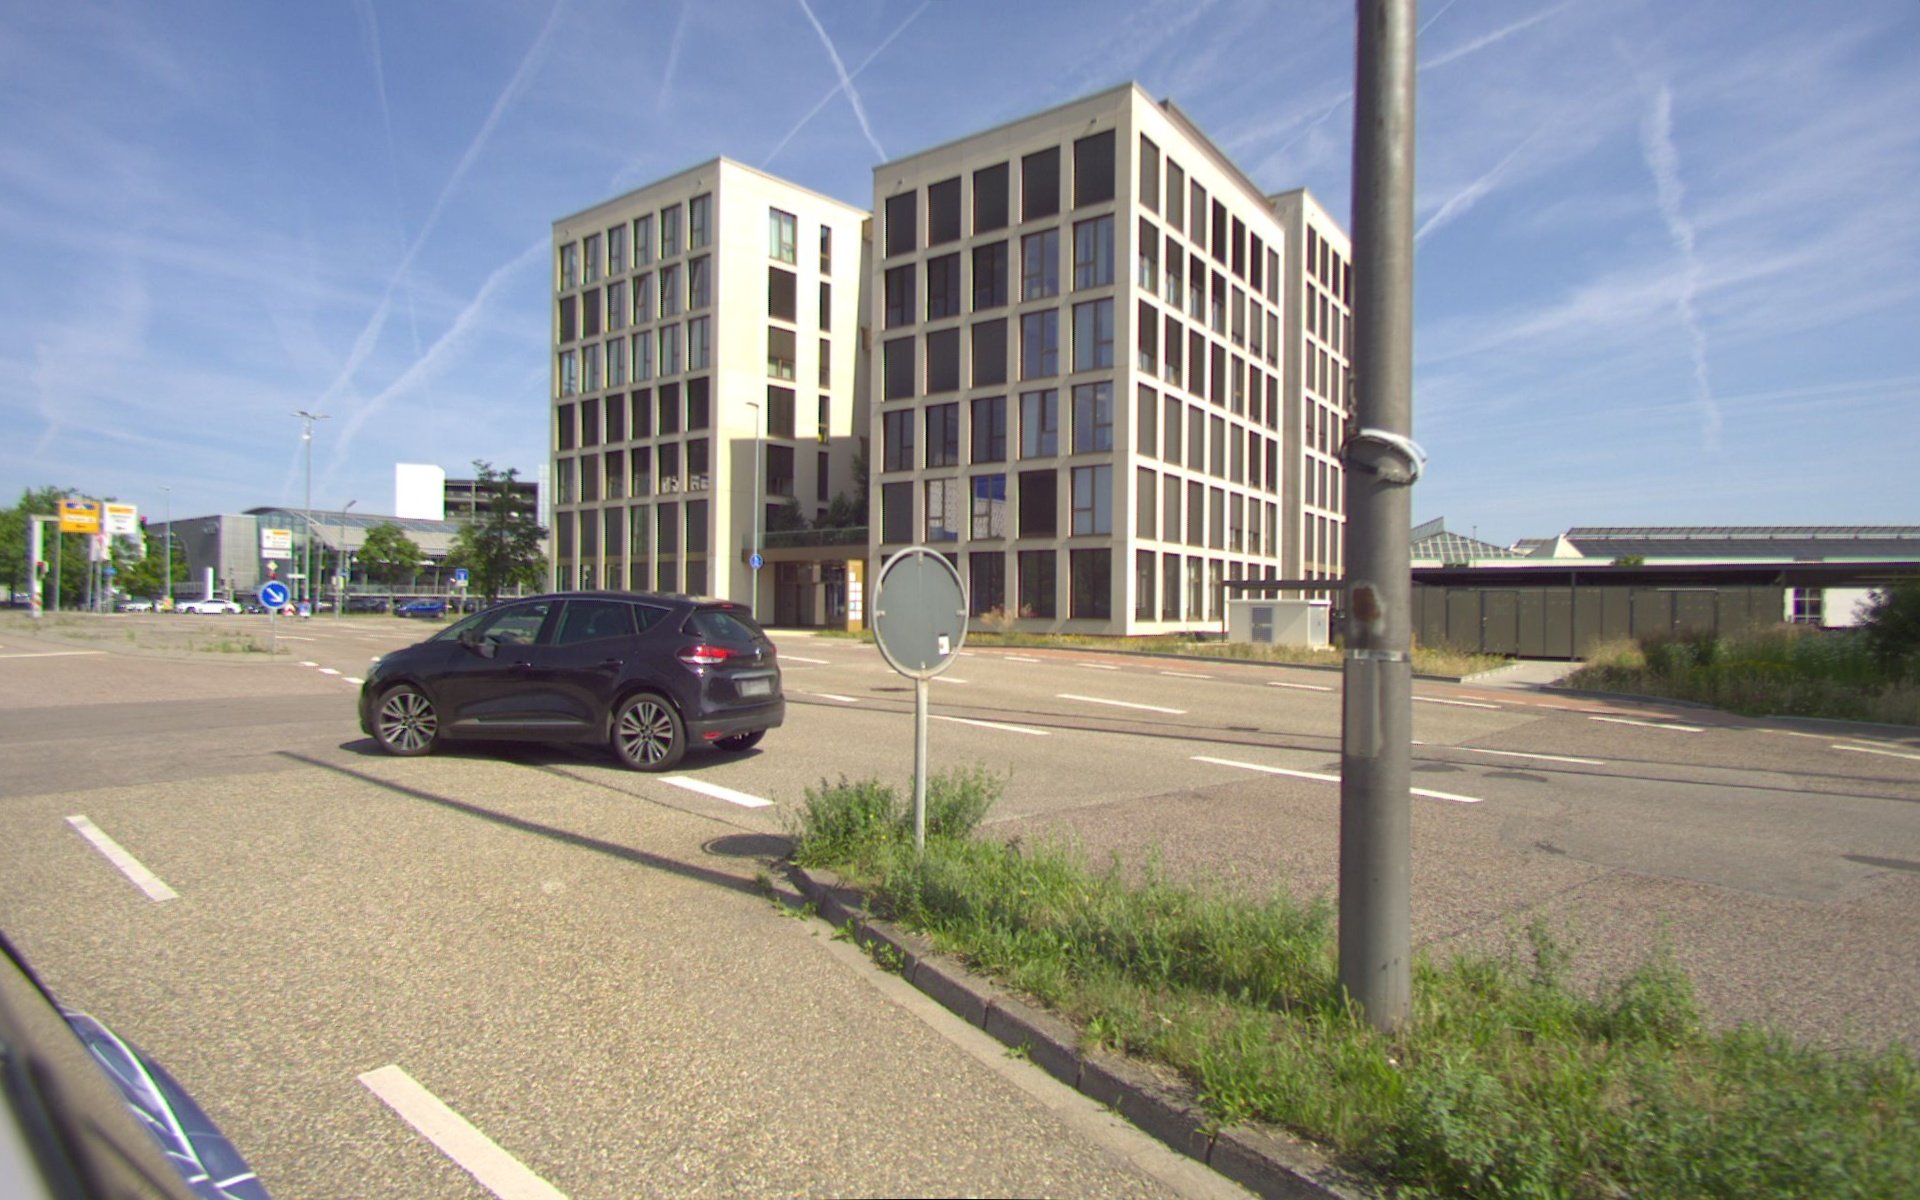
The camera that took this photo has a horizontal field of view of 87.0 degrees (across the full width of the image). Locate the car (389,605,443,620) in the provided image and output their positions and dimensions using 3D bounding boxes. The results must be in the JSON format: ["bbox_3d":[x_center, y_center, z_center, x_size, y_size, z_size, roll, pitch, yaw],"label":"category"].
[{"bbox_3d":[-46.198,1.067,85.976,1.661,1.299,3.748,0,-1,45],"label":"car"}]

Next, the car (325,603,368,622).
[{"bbox_3d":[-55.751,1.124,91.895,4.366,1.556,1.772,-3,-3,36],"label":"car"}]

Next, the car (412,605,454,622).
[{"bbox_3d":[-51.228,1.363,98.382,4.622,1.453,1.772,-3,-3,36],"label":"car"}]

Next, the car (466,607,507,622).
[{"bbox_3d":[-48.087,1.493,102.768,4.549,1.453,1.772,-2,-3,36],"label":"car"}]

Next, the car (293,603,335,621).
[{"bbox_3d":[-57.078,1.100,89.407,4.191,1.453,1.772,-3,-3,36],"label":"car"}]

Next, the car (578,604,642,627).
[{"bbox_3d":[-28.757,1.258,83.286,4.738,1.835,1.901,0,-1,-7],"label":"car"}]

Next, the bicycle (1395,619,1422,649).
[{"bbox_3d":[17.142,1.278,38.661,0.587,1.099,1.687,0,0,37],"label":"bicycle"}]

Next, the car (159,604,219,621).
[{"bbox_3d":[-66.932,1.113,87.860,1.759,1.413,3.802,0,-1,34],"label":"car"}]

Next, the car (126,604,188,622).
[{"bbox_3d":[-73.384,1.204,92.559,1.874,1.380,4.036,0,-4,35],"label":"car"}]

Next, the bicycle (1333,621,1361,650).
[{"bbox_3d":[15.321,1.407,40.025,0.587,1.099,1.687,0,0,37],"label":"bicycle"}]

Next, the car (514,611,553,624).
[{"bbox_3d":[-47.609,1.936,112.898,3.957,1.453,1.804,1,-1,-25],"label":"car"}]

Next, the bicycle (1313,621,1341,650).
[{"bbox_3d":[14.684,1.404,40.519,0.587,1.099,1.687,0,0,37],"label":"bicycle"}]

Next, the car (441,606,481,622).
[{"bbox_3d":[-49.581,1.398,100.533,4.392,1.453,1.772,-3,-3,36],"label":"car"}]

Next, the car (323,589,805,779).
[{"bbox_3d":[-3.898,0.725,10.165,4.233,1.618,1.912,0,-1,16],"label":"car"}]

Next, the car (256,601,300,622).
[{"bbox_3d":[-58.984,0.998,87.516,4.587,1.626,1.797,-3,-3,37],"label":"car"}]

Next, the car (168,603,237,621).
[{"bbox_3d":[-64.785,1.050,86.586,1.897,1.443,4.331,0,-1,38],"label":"car"}]

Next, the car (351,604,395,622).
[{"bbox_3d":[-54.618,1.231,94.183,4.766,1.517,1.772,-3,-3,36],"label":"car"}]

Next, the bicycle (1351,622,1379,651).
[{"bbox_3d":[15.856,1.415,39.587,0.587,1.099,1.687,0,0,37],"label":"bicycle"}]

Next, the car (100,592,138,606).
[{"bbox_3d":[-128.013,-0.134,154.089,1.687,1.745,4.147,0,-4,37],"label":"car"}]
